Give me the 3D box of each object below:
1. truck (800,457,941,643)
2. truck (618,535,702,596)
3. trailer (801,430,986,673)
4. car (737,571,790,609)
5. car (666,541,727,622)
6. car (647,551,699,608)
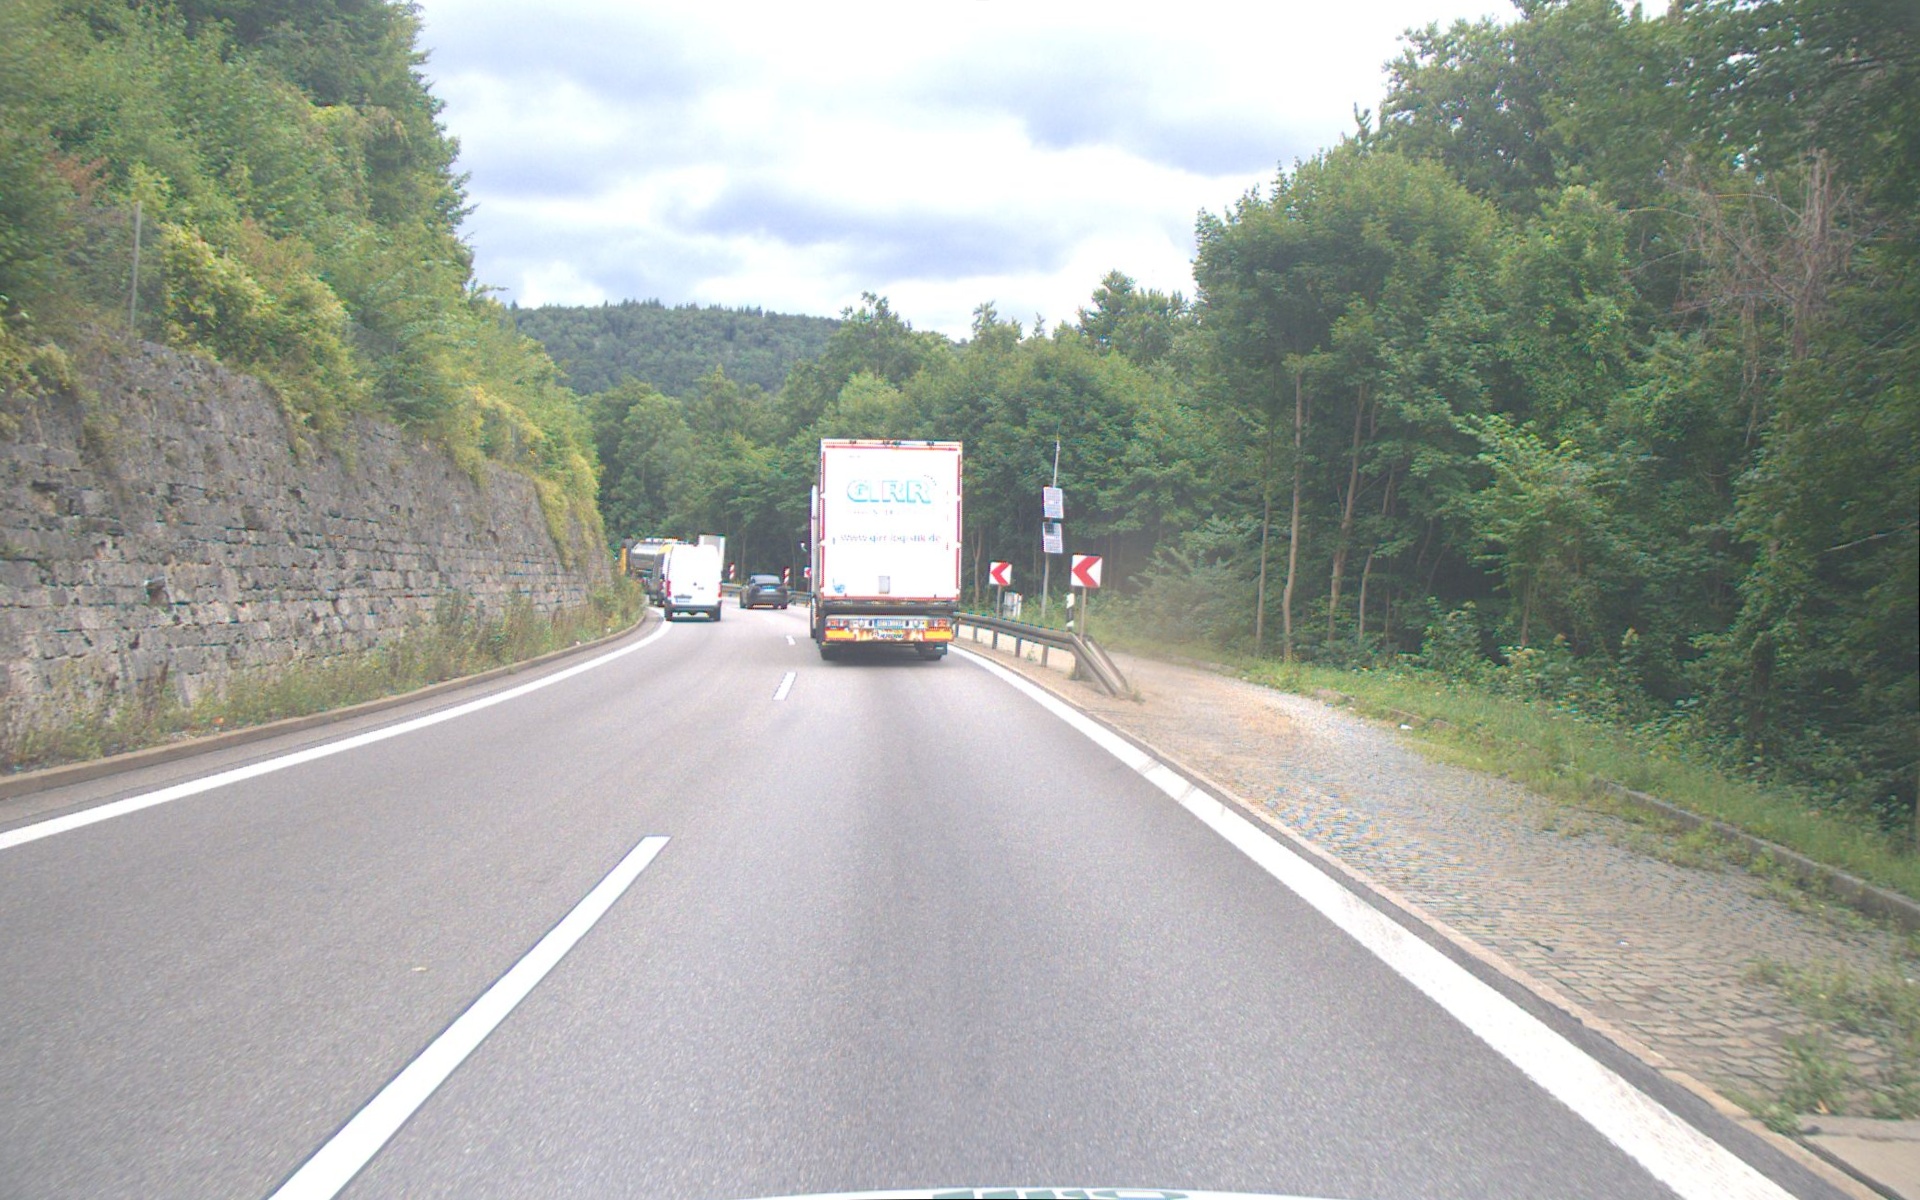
[{"bbox_3d":[-2.386,-1.257,41.283,2.999,4.054,7.180,3,2,-6],"label":"truck"},{"bbox_3d":[-21.243,-2.474,116.322,3.016,4.055,13.605,0,2,-22],"label":"truck"},{"bbox_3d":[-1.735,-1.057,34.915,2.999,4.054,12.124,3,2,-6],"label":"trailer"},{"bbox_3d":[-9.431,-0.484,79.234,1.960,1.691,3.986,3,0,-14],"label":"car"},{"bbox_3d":[-9.783,-0.713,60.996,1.953,2.718,6.919,3,1,-10],"label":"car"},{"bbox_3d":[-14.508,-1.068,83.406,1.908,2.718,5.966,3,1,-16],"label":"car"}]
